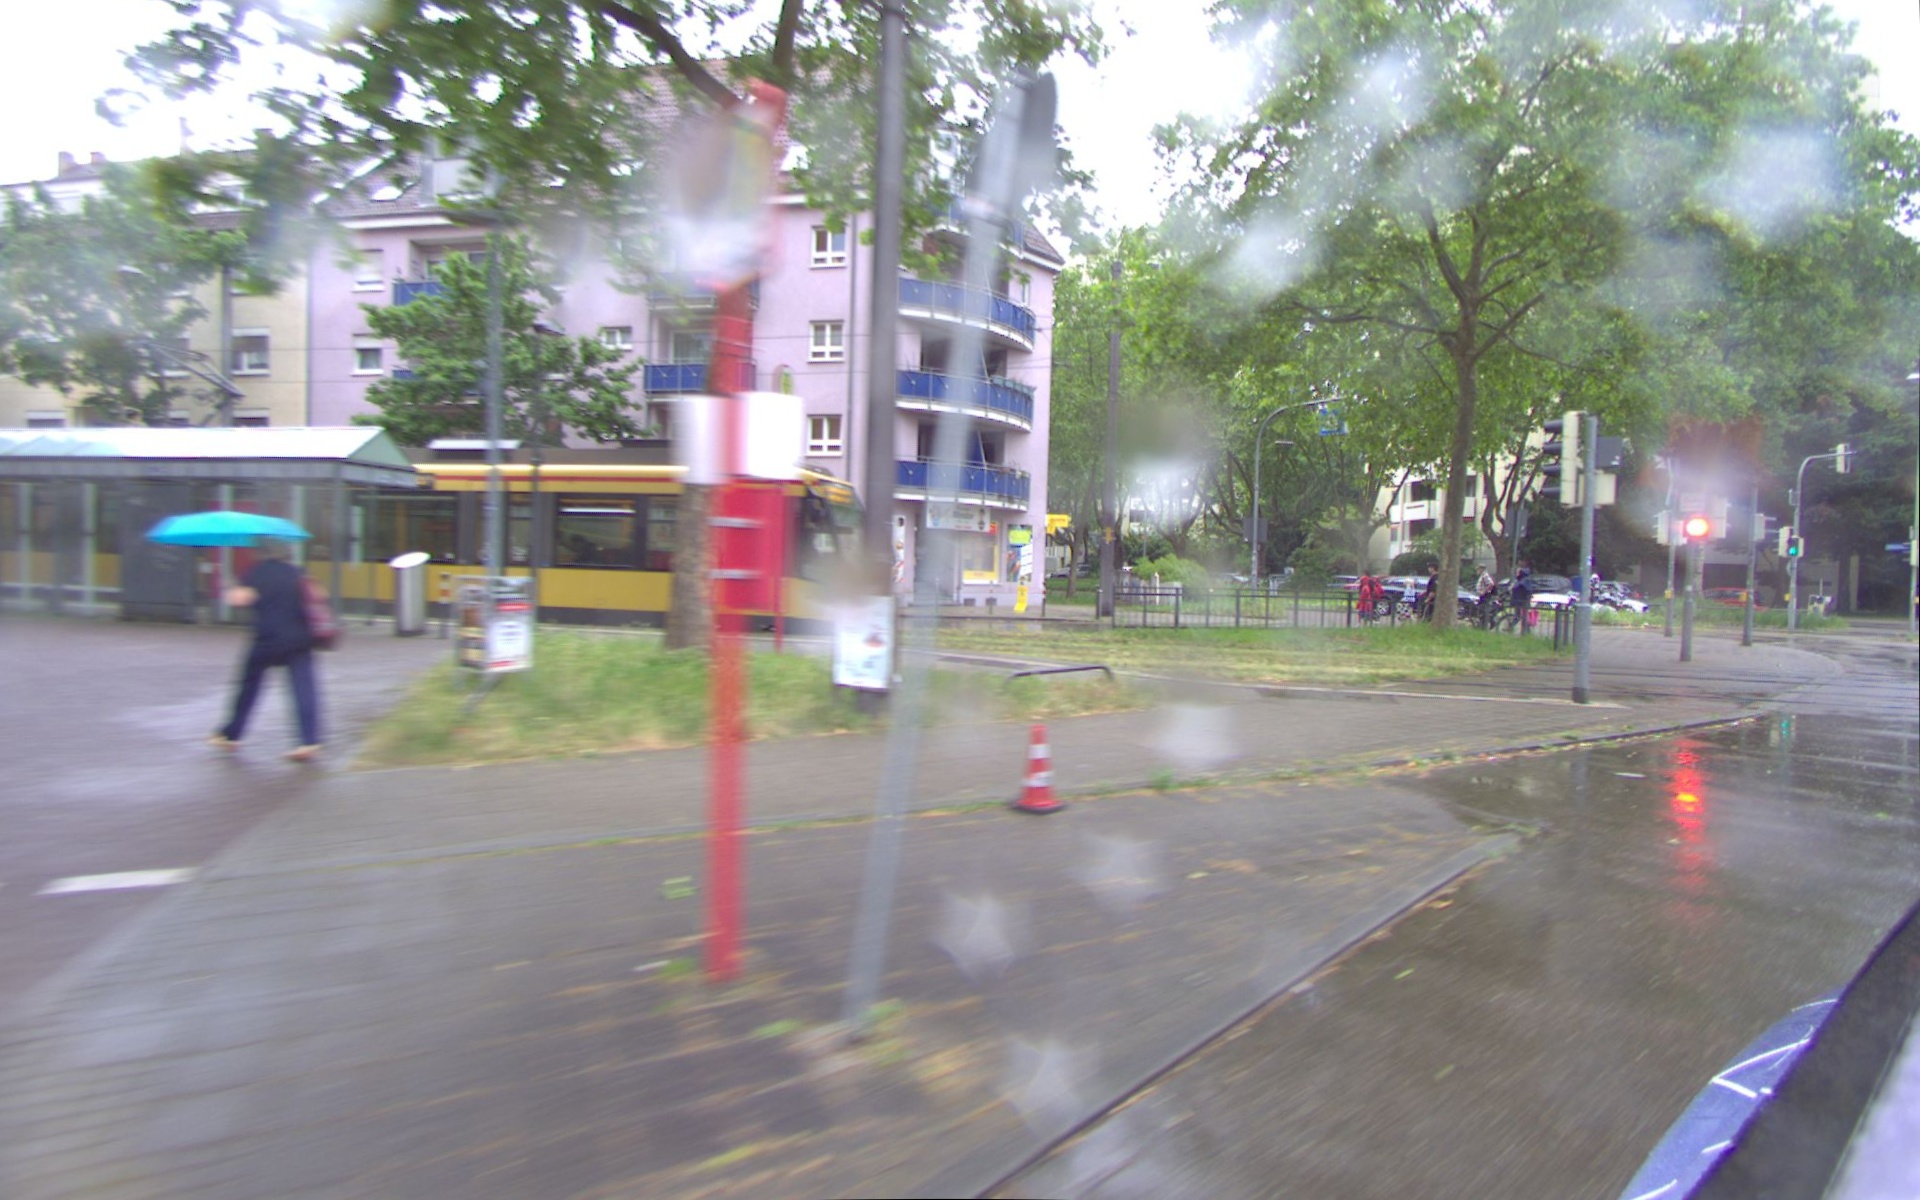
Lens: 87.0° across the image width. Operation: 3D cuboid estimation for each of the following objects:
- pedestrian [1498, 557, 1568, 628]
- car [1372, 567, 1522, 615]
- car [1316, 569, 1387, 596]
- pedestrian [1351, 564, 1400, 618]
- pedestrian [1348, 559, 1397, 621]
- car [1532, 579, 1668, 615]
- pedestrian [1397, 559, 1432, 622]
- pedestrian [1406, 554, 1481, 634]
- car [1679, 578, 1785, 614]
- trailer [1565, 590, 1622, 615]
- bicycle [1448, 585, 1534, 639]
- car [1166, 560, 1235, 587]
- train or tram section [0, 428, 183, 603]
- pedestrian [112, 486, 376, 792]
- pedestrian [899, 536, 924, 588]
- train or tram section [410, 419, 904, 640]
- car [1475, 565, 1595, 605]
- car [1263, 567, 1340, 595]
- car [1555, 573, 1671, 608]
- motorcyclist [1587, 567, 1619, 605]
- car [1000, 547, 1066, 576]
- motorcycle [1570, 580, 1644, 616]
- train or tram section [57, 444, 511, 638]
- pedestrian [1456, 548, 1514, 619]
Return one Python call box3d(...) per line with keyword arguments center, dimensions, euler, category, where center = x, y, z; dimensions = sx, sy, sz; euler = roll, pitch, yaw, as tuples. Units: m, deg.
box3d(center=(14.398, -0.202, 25.452), dimensions=(0.975, 1.707, 1.059), euler=(1, 2, -18), category="pedestrian")
box3d(center=(16.617, -0.335, 34.653), dimensions=(1.959, 1.479, 4.174), euler=(0, 2, -39), category="car")
box3d(center=(25.022, -1.140, 64.845), dimensions=(1.892, 1.653, 4.007), euler=(1, 2, -27), category="car")
box3d(center=(11.090, -0.251, 27.007), dimensions=(1.006, 1.398, 0.664), euler=(4, 3, 39), category="pedestrian")
box3d(center=(10.756, -0.270, 26.369), dimensions=(1.055, 1.544, 0.870), euler=(3, 2, 28), category="pedestrian")
box3d(center=(25.114, -0.146, 39.797), dimensions=(1.870, 1.291, 4.166), euler=(0, 2, -41), category="car")
box3d(center=(11.697, -0.247, 26.041), dimensions=(0.754, 1.566, 0.686), euler=(3, 2, 25), category="pedestrian")
box3d(center=(11.401, -0.163, 23.857), dimensions=(1.019, 1.811, 1.236), euler=(0, 2, -39), category="pedestrian")
box3d(center=(35.475, -0.210, 46.558), dimensions=(1.807, 1.544, 3.463), euler=(0, 2, -34), category="car")
box3d(center=(22.964, 0.078, 36.714), dimensions=(1.008, 0.852, 1.483), euler=(0, 2, -35), category="trailer")
box3d(center=(11.621, 0.245, 22.184), dimensions=(1.608, 1.090, 0.440), euler=(3, 2, 35), category="bicycle")
box3d(center=(15.693, -1.742, 66.144), dimensions=(3.919, 1.675, 2.003), euler=(1, 1, -7), category="car")
box3d(center=(-22.129, -1.809, 22.105), dimensions=(9.839, 3.393, 2.635), euler=(2, 1, 14), category="train or tram section")
box3d(center=(-5.031, 0.207, 7.117), dimensions=(1.377, 1.888, 1.159), euler=(3, 2, 37), category="pedestrian")
box3d(center=(-1.540, -1.211, 32.076), dimensions=(0.591, 1.622, 0.466), euler=(2, 1, 39), category="pedestrian")
box3d(center=(-5.343, -1.233, 17.992), dimensions=(8.255, 3.411, 2.635), euler=(2, 1, 15), category="train or tram section")
box3d(center=(26.472, -0.693, 46.667), dimensions=(4.509, 1.685, 1.878), euler=(1, 1, -7), category="car")
box3d(center=(19.702, -1.099, 58.456), dimensions=(3.761, 1.439, 1.891), euler=(1, 2, -19), category="car")
box3d(center=(32.668, -0.494, 50.765), dimensions=(1.902, 1.628, 4.460), euler=(0, 2, -31), category="car")
box3d(center=(23.716, -0.512, 37.332), dimensions=(0.744, 1.368, 0.754), euler=(0, 1, -37), category="motorcyclist")
box3d(center=(6.532, -3.467, 90.983), dimensions=(5.532, 2.430, 2.221), euler=(2, 1, 18), category="car")
box3d(center=(23.781, -0.088, 37.233), dimensions=(0.865, 1.230, 2.074), euler=(0, 2, -36), category="motorcycle")
box3d(center=(-13.335, -1.182, 20.054), dimensions=(8.252, 3.393, 2.635), euler=(2, 1, 14), category="train or tram section")
box3d(center=(13.807, -0.435, 26.632), dimensions=(0.795, 1.803, 0.996), euler=(1, 2, -29), category="pedestrian")
